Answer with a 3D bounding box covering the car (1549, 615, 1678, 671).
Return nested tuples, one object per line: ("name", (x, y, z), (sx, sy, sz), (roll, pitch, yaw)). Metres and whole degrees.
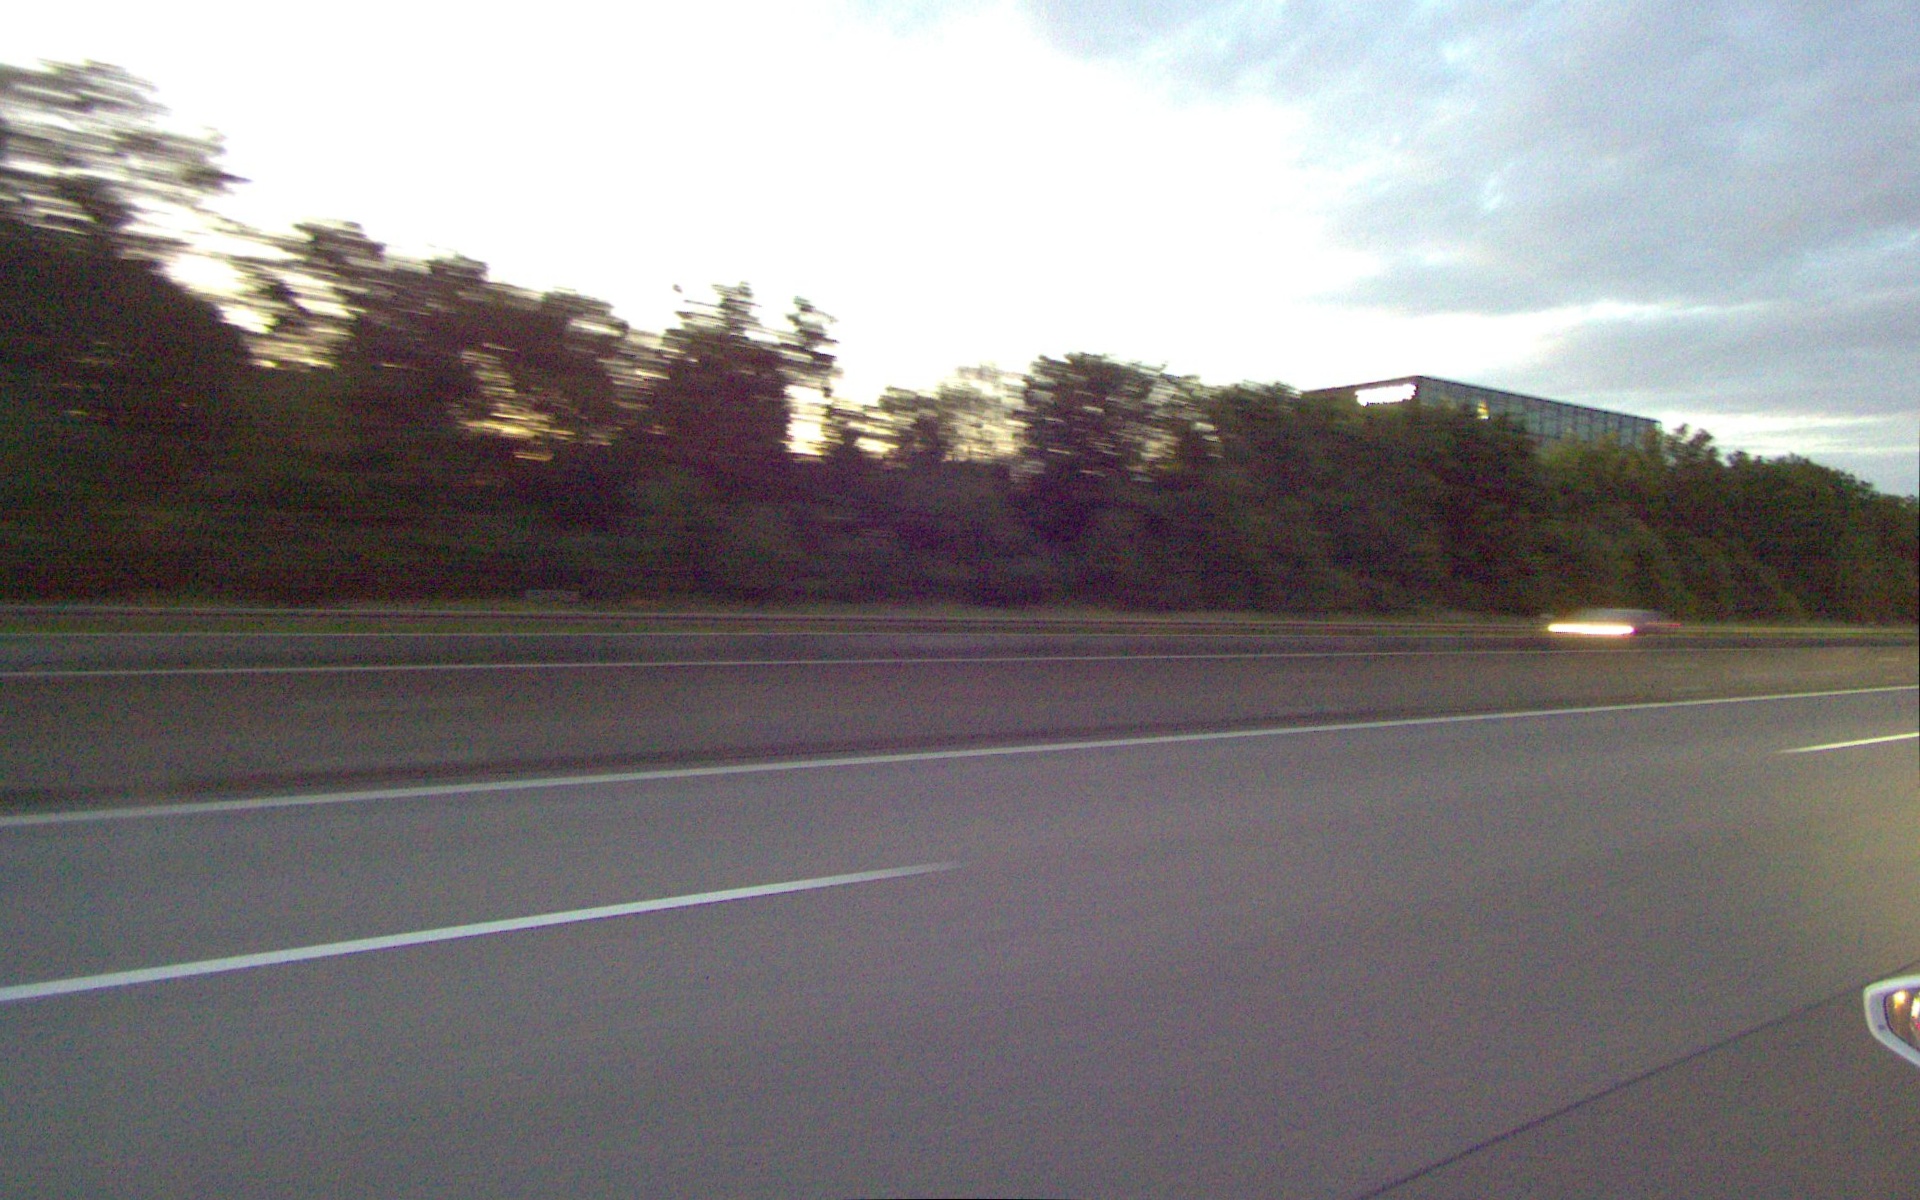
("car", (23.584, 1.537, 36.216), (4.786, 1.815, 1.983), (2, 0, -31))
